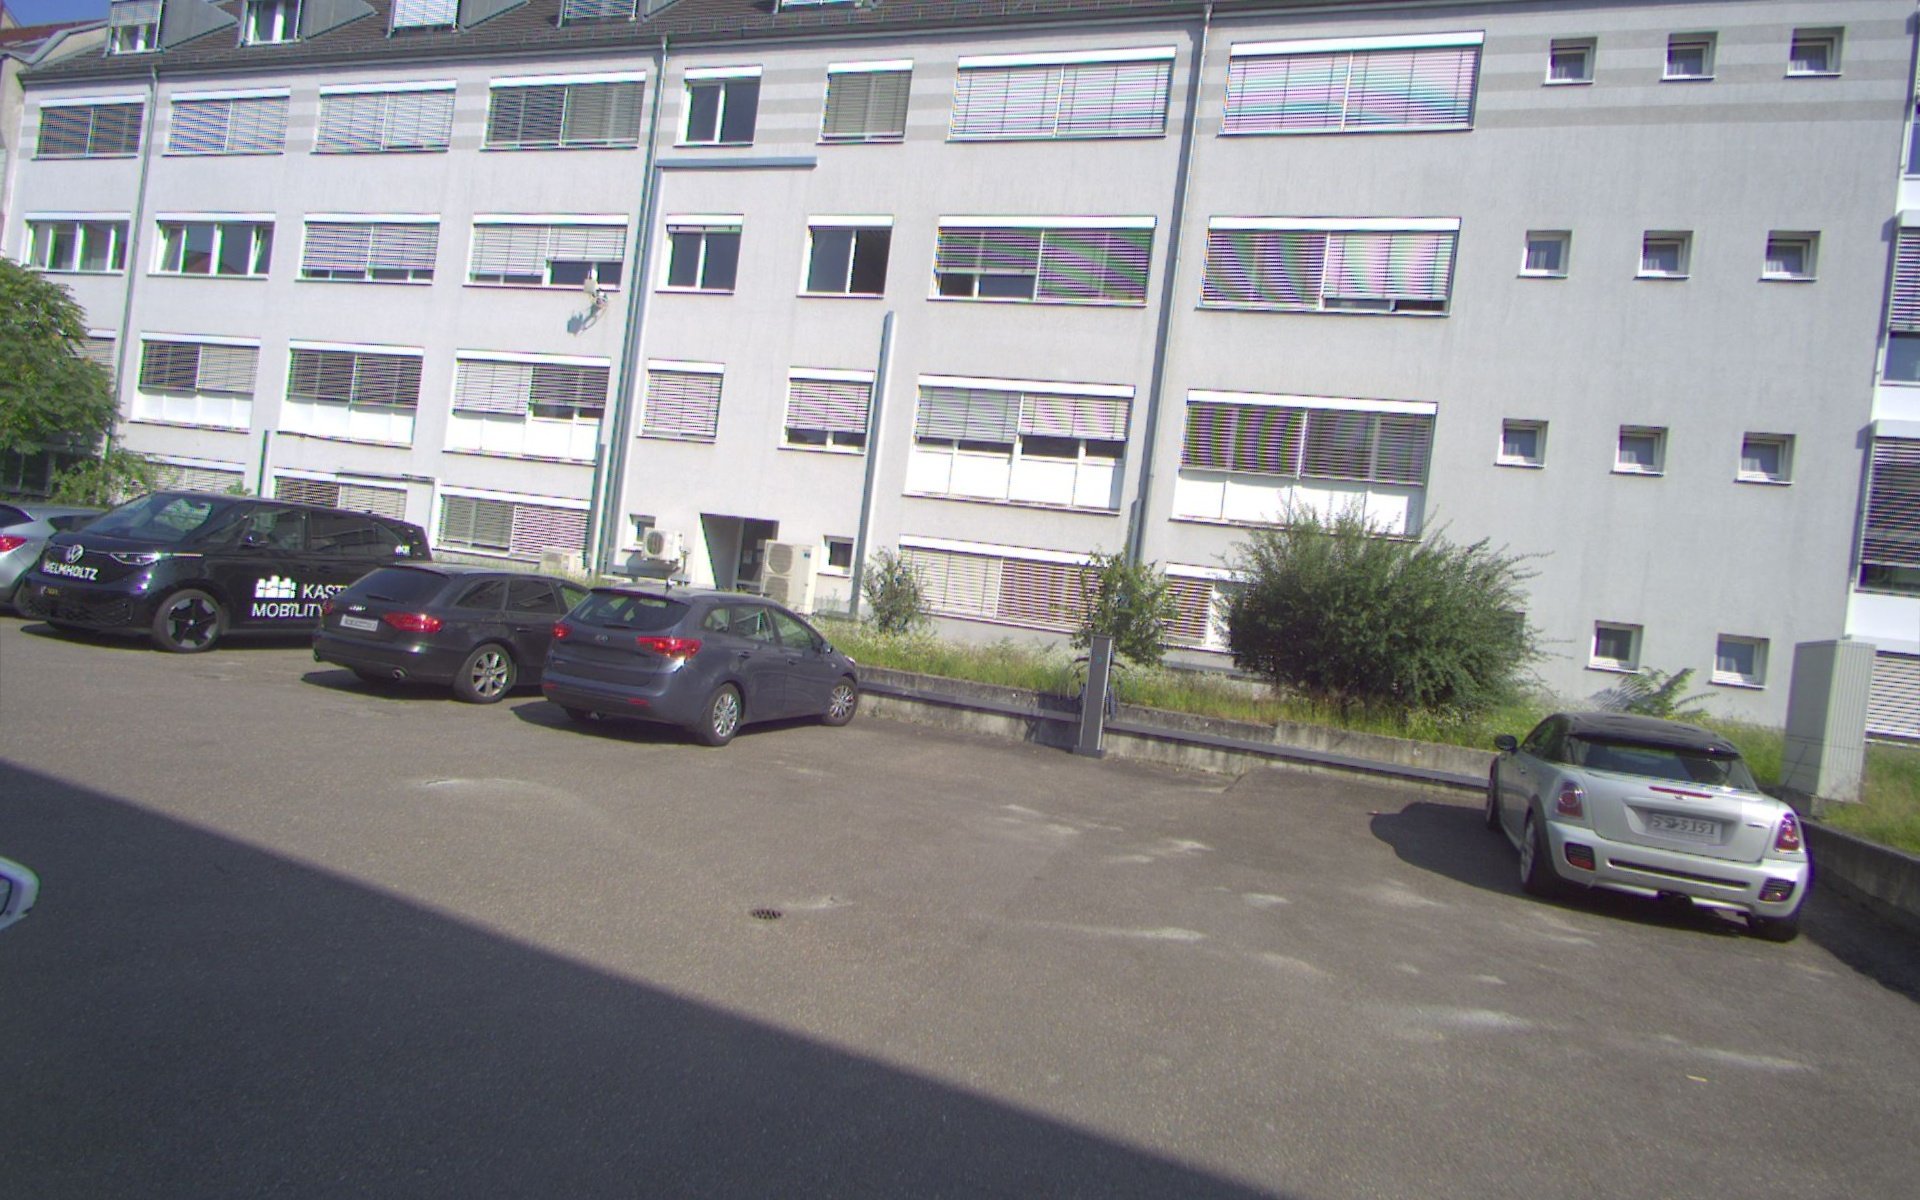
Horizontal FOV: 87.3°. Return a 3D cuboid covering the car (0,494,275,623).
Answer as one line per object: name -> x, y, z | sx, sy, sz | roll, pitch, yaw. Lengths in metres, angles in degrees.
car -> -11.979, -0.547, 14.005 | 1.631, 1.484, 3.911 | 8, 0, 11

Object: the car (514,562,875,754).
car -> -2.617, 0.605, 11.009 | 1.710, 1.496, 4.061 | 8, 0, 19

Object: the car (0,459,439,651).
car -> -9.262, -0.421, 13.037 | 1.878, 1.881, 4.351 | 8, 0, 14

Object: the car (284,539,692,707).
car -> -5.230, 0.327, 11.862 | 1.659, 1.455, 4.246 | 8, 0, 22

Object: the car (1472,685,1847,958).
car -> 5.534, 1.602, 8.488 | 1.628, 1.455, 3.582 | 8, 0, 21
